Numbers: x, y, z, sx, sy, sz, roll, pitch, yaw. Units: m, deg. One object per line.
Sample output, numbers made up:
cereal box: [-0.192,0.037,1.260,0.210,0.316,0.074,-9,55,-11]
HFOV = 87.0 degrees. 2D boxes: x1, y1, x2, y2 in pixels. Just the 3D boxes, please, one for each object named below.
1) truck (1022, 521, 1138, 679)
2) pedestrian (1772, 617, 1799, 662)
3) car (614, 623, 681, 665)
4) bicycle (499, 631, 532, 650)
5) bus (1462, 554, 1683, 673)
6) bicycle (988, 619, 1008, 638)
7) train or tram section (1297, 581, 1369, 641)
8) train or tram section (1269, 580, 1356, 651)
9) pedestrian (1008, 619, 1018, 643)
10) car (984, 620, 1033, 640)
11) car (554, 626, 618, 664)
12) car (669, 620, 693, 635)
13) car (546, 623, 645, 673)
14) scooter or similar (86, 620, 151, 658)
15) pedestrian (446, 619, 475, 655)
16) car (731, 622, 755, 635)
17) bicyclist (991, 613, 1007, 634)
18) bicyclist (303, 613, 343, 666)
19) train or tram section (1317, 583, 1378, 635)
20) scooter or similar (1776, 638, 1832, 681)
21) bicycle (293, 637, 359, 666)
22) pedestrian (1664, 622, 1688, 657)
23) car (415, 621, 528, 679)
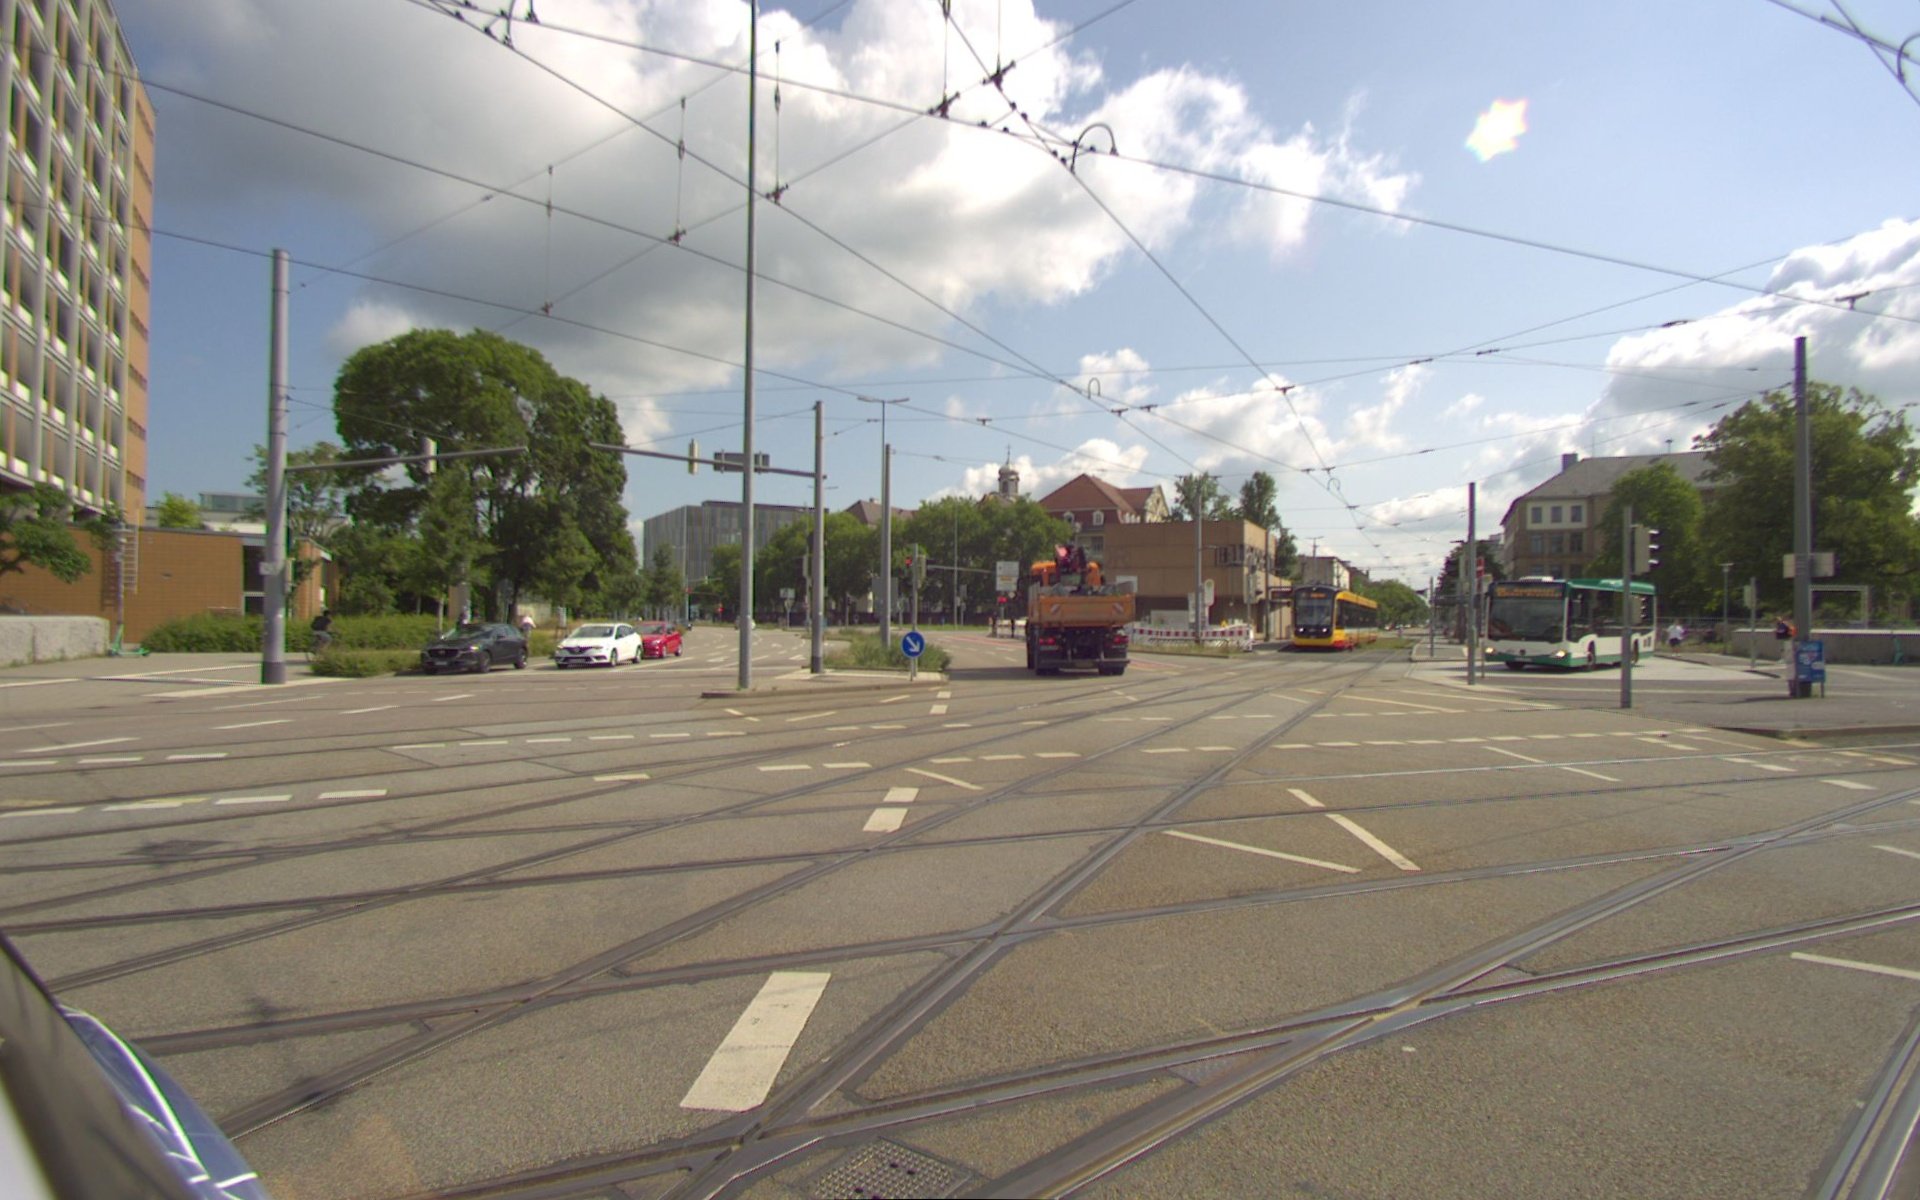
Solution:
truck: [3.317,0.098,29.939,2.799,4.039,8.065,0,-1,3]
pedestrian: [33.716,1.619,41.347,0.716,1.808,0.558,0,-2,25]
car: [-12.365,1.702,40.284,1.622,1.478,4.068,-1,-1,-3]
bicycle: [-21.657,1.952,49.308,0.644,0.904,2.276,0,-1,-1]
bus: [22.132,0.575,36.071,12.181,3.648,2.921,2,-2,-40]
bicycle: [2.882,2.183,76.628,0.957,1.421,2.299,0,-1,-11]
train or tram section: [24.139,0.679,65.153,3.306,3.507,10.516,-2,-1,26]
train or tram section: [19.554,0.779,55.601,3.306,3.507,10.516,-2,-1,26]
pedestrian: [3.866,2.268,74.314,0.643,1.777,1.002,0,-1,-3]
car: [4.301,2.638,89.357,3.968,1.796,1.988,0,-1,19]
car: [-15.725,1.862,42.731,1.564,1.395,4.084,-1,-1,-6]
car: [-31.642,3.111,114.759,1.965,1.769,4.013,1,-2,-25]
car: [-12.132,1.567,34.007,1.738,1.440,4.675,-1,0,-1]
scooter or similar: [-27.264,1.279,32.824,0.434,1.192,1.519,-1,-3,35]
pedestrian: [-22.596,1.673,45.808,0.769,1.590,0.944,-1,-2,43]
car: [-25.269,3.326,117.676,1.800,1.537,4.013,1,-2,-27]
bicyclist: [2.947,1.812,76.731,0.765,1.575,1.780,0,-1,-12]
bicyclist: [-20.834,1.273,33.107,0.573,1.684,0.934,1,-1,11]
train or tram section: [28.701,0.644,74.699,3.306,3.507,10.516,-2,-1,26]
scooter or similar: [23.707,1.656,28.421,1.148,1.175,0.815,1,-2,-27]
bicycle: [-20.763,1.686,33.176,0.753,0.881,1.802,2,-2,11]
pedestrian: [34.893,1.929,49.315,0.776,1.685,0.715,0,-2,21]
car: [-14.943,1.477,31.183,1.622,1.588,4.215,-1,-1,-3]
